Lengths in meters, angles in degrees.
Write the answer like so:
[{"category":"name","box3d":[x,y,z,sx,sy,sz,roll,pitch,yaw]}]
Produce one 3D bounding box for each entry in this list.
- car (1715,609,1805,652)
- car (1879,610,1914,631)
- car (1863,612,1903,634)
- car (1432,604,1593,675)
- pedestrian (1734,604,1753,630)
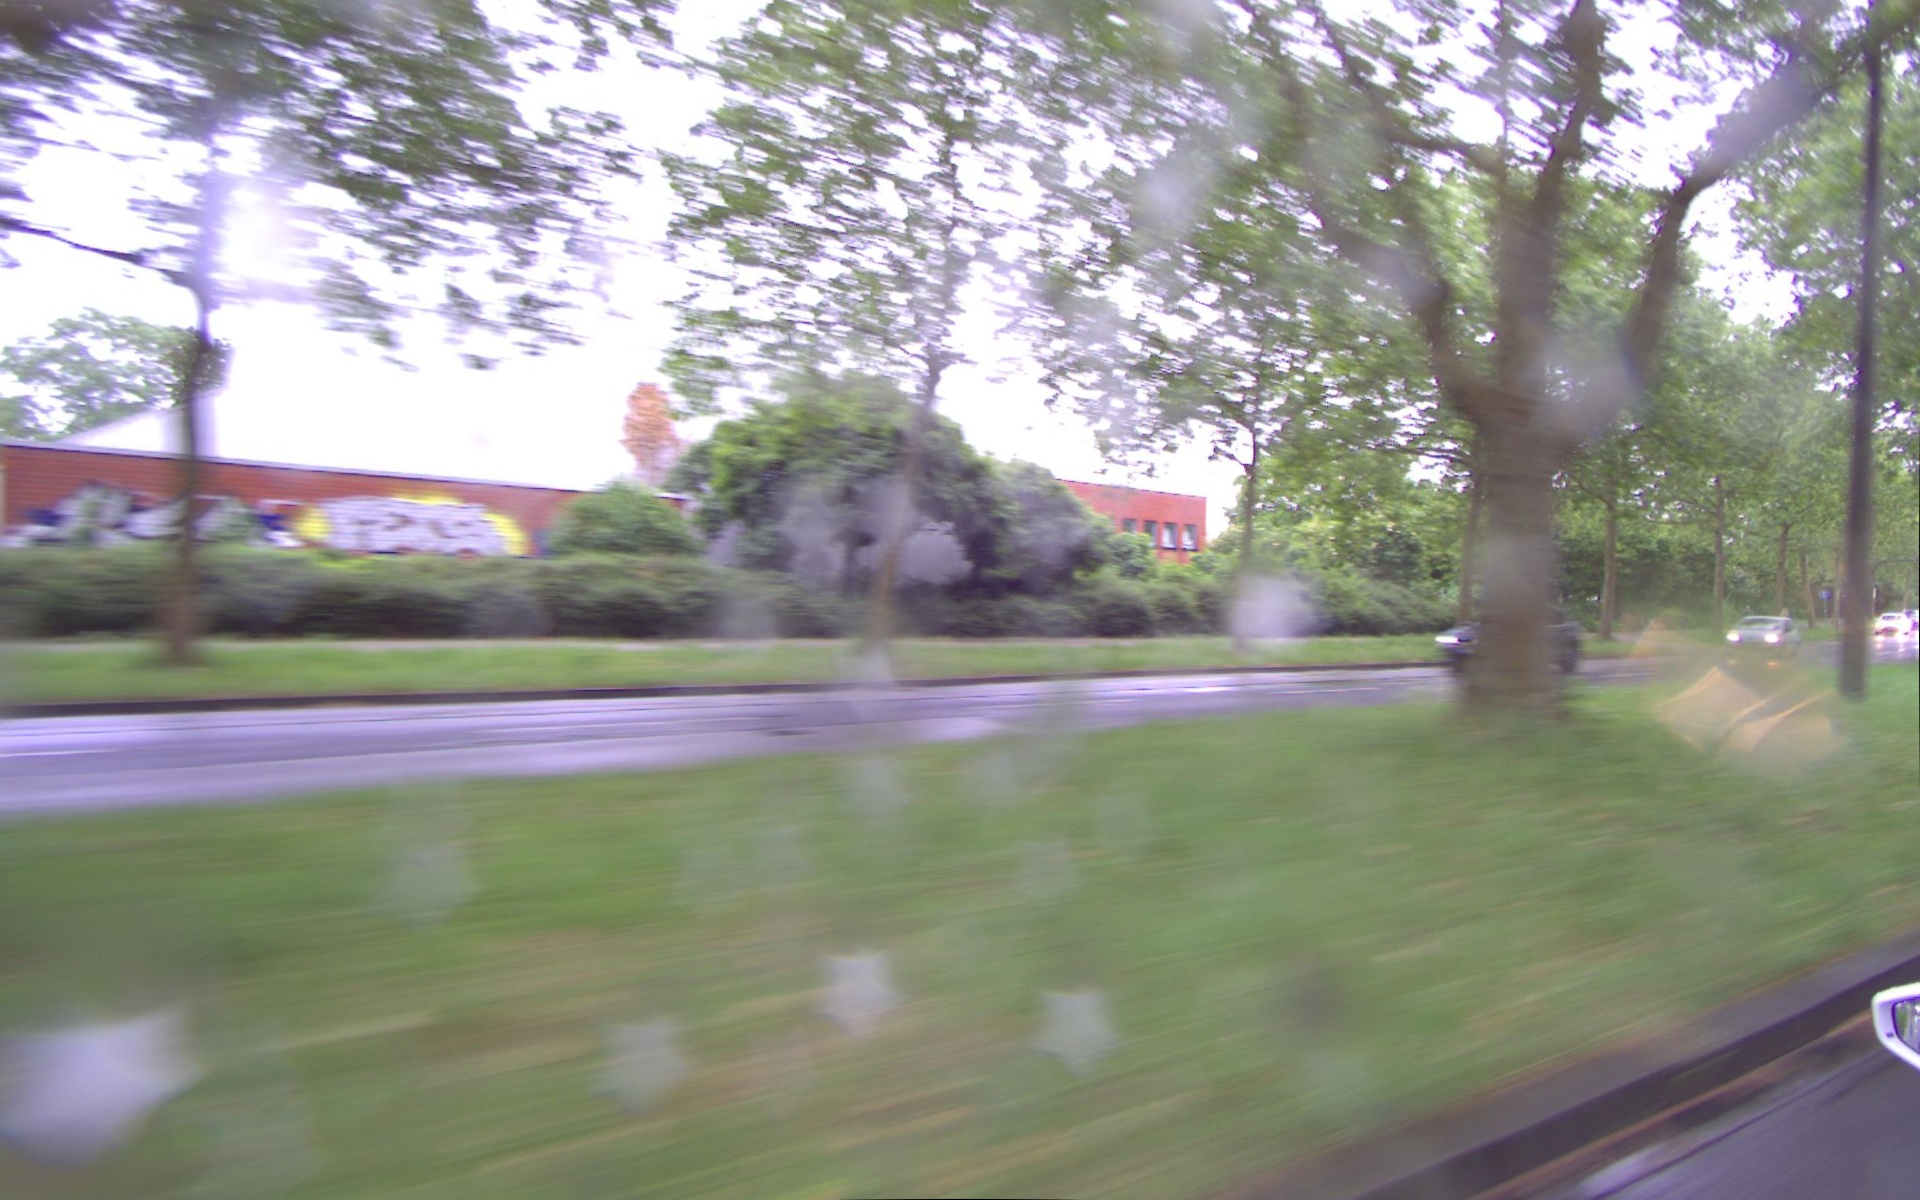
[{"category":"car","box3d":[29.583,1.106,37.117,3.807,1.479,1.730,1,1,-38]},{"category":"car","box3d":[78.287,1.673,83.940,4.177,1.612,1.727,0,1,-42]},{"category":"car","box3d":[66.223,1.619,72.064,4.052,1.496,1.727,1,1,-42]},{"category":"car","box3d":[13.714,0.937,24.861,4.324,1.582,1.732,1,1,-35]},{"category":"pedestrian","box3d":[51.918,1.141,66.529,0.893,1.696,0.823,1,1,-43]}]
